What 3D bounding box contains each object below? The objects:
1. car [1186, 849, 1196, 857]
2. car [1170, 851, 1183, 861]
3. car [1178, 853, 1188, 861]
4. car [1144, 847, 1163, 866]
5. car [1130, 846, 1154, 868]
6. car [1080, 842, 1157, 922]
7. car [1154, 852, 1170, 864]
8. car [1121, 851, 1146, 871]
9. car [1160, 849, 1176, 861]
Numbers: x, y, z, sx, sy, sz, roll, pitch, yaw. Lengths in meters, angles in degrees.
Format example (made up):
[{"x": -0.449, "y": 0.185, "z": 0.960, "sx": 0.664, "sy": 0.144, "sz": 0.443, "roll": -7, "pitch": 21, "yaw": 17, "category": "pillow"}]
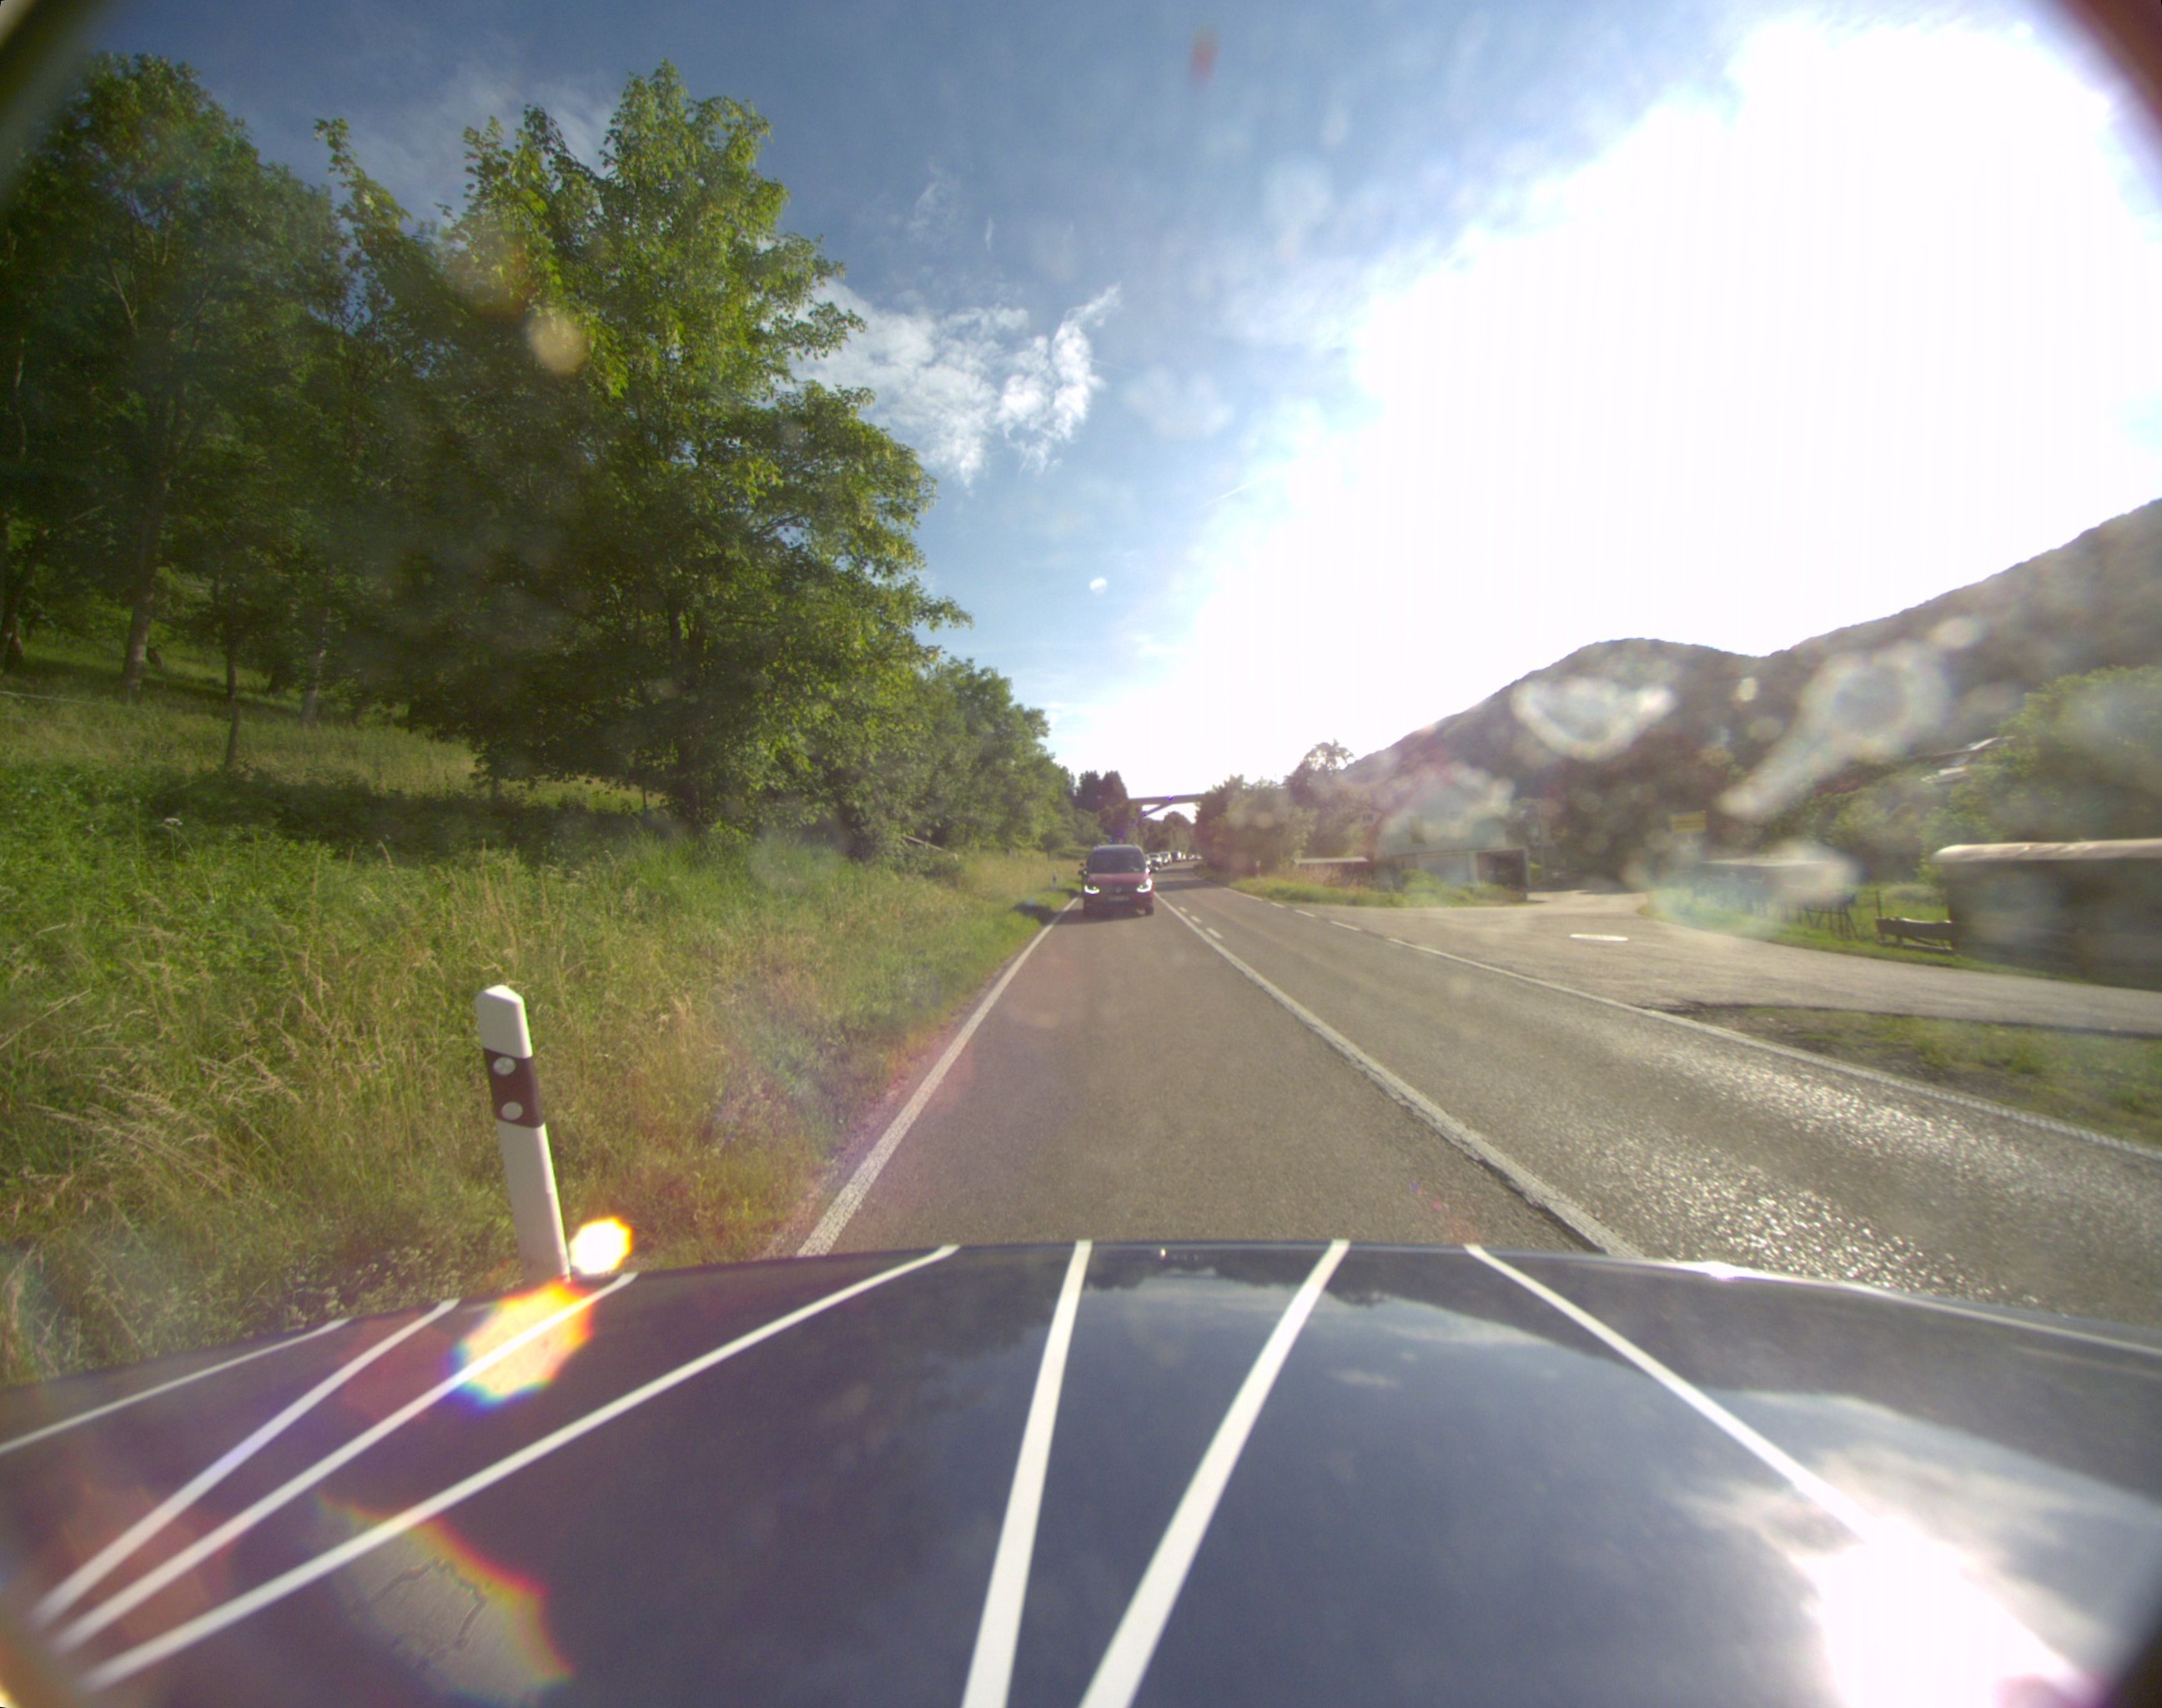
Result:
[{"x": 24.404, "y": -0.242, "z": 168.709, "sx": 1.839, "sy": 1.543, "sz": 4.182, "roll": -1, "pitch": 0, "yaw": 15, "category": "car"}, {"x": 15.178, "y": 0.293, "z": 120.698, "sx": 1.817, "sy": 1.608, "sz": 4.003, "roll": -1, "pitch": 0, "yaw": 11, "category": "car"}, {"x": 20.172, "y": 0.499, "z": 150.217, "sx": 1.840, "sy": 1.543, "sz": 4.181, "roll": -1, "pitch": 0, "yaw": 11, "category": "car"}, {"x": 8.129, "y": 0.256, "z": 84.862, "sx": 1.913, "sy": 2.002, "sz": 4.002, "roll": -1, "pitch": 0, "yaw": 8, "category": "car"}, {"x": 5.859, "y": 0.301, "z": 72.884, "sx": 1.913, "sy": 2.002, "sz": 4.003, "roll": -1, "pitch": 0, "yaw": 9, "category": "car"}, {"x": 0.983, "y": 0.664, "z": 20.049, "sx": 1.772, "sy": 1.855, "sz": 3.876, "roll": -2, "pitch": 0, "yaw": 3, "category": "car"}, {"x": 10.263, "y": 0.474, "z": 96.551, "sx": 1.840, "sy": 1.543, "sz": 4.180, "roll": 0, "pitch": 0, "yaw": 9, "category": "car"}, {"x": 4.339, "y": 0.534, "z": 62.205, "sx": 1.840, "sy": 1.543, "sz": 4.179, "roll": -1, "pitch": 0, "yaw": 7, "category": "car"}, {"x": 12.299, "y": 0.075, "z": 107.461, "sx": 1.817, "sy": 1.608, "sz": 4.003, "roll": -1, "pitch": 0, "yaw": 12, "category": "car"}]
